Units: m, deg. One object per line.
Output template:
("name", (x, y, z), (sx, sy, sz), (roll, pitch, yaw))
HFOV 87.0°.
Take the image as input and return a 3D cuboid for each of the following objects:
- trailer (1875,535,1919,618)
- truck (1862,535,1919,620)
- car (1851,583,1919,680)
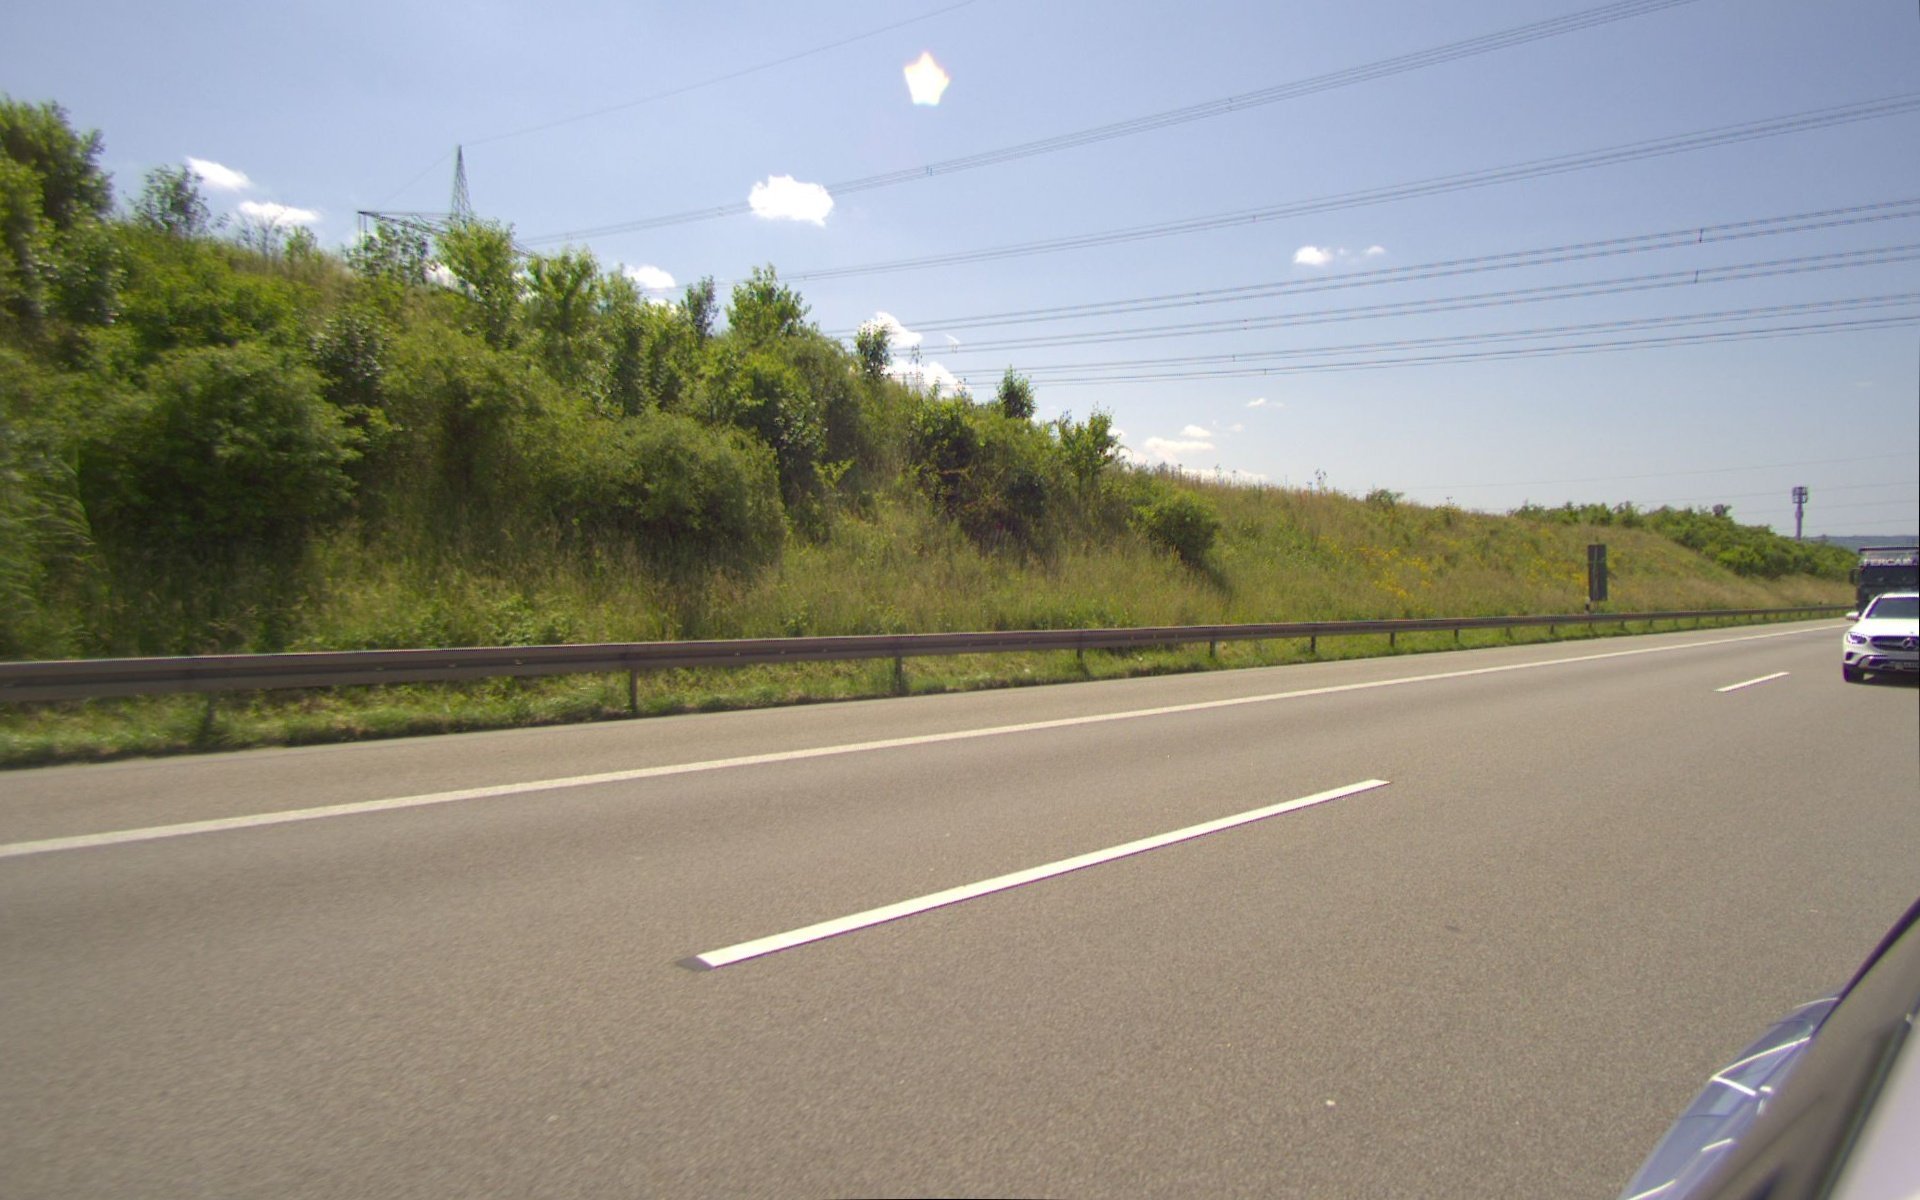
("trailer", (53.176, -1.288, 55.780), (11.603, 4.206, 2.730), (-1, 1, -41))
("truck", (48.043, -1.127, 51.261), (6.671, 4.071, 2.757), (-1, 1, -41))
("car", (17.920, 0.497, 18.495), (5.142, 1.600, 1.917), (-1, 1, -42))
